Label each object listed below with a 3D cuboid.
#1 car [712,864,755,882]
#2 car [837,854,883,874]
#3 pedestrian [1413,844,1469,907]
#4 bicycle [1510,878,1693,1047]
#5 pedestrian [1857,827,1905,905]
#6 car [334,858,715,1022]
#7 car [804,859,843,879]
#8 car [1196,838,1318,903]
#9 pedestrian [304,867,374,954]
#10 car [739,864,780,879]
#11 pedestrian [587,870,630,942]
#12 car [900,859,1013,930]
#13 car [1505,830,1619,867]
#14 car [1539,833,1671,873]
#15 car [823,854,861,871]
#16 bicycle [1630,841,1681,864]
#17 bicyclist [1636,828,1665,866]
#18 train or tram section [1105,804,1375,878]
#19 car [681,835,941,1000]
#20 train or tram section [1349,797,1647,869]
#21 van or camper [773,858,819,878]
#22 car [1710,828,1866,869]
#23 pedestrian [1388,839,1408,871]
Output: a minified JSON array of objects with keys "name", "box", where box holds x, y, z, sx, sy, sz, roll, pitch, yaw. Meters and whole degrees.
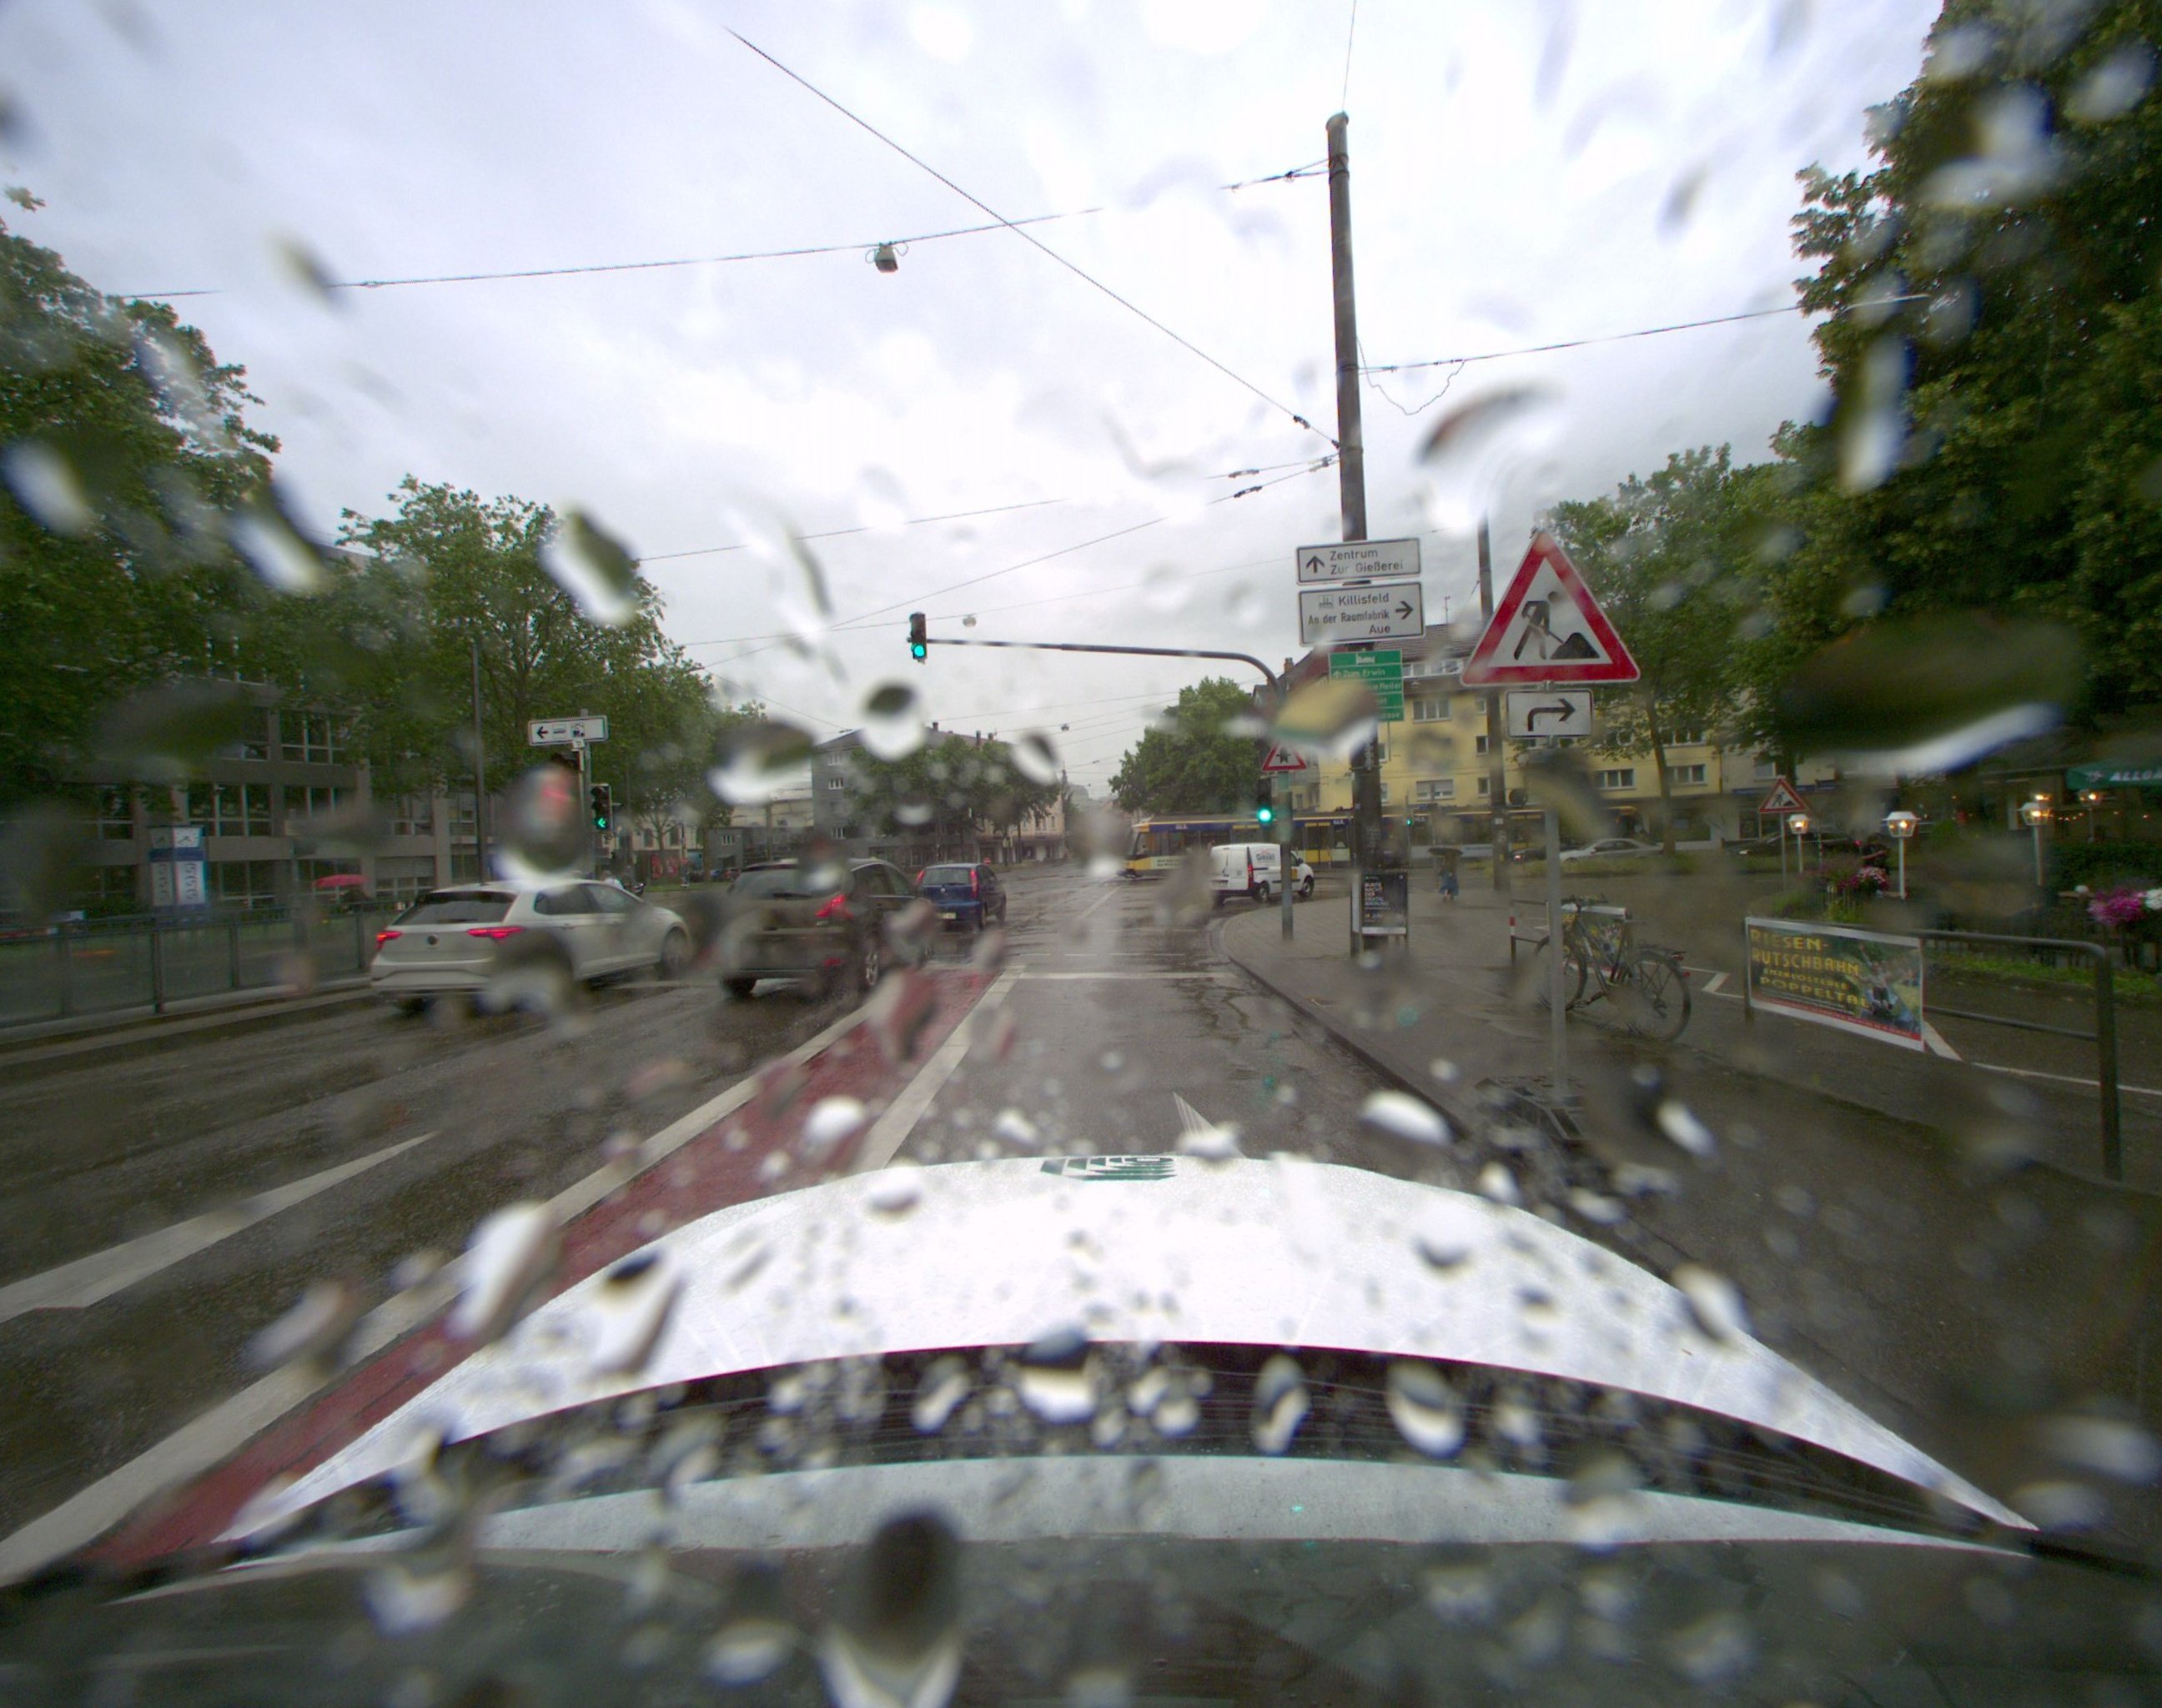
[{"name":"car","box":[-39.506,2.113,92.691,1.974,2.014,4.025,-1,-1,31]},{"name":"car","box":[-23.248,1.029,85.836,2.041,2.013,4.426,-1,1,32]},{"name":"pedestrian","box":[10.001,0.573,22.625,1.003,1.666,1.092,-2,1,-43]},{"name":"bicycle","box":[4.350,0.837,6.961,0.420,1.168,1.793,0,1,0]},{"name":"pedestrian","box":[17.240,0.254,17.553,0.546,1.644,0.389,-4,0,3]},{"name":"car","box":[-6.653,0.900,10.445,1.799,1.536,4.194,-2,1,3]},{"name":"car","box":[-27.866,1.588,88.241,1.977,2.013,4.019,-2,1,18]},{"name":"car","box":[5.592,0.442,25.599,1.886,1.797,4.139,0,1,43]},{"name":"pedestrian","box":[-15.553,1.149,17.105,0.954,1.711,0.820,-3,1,-37]},{"name":"car","box":[-35.704,1.896,90.531,1.975,1.614,4.023,-2,-2,27]},{"name":"pedestrian","box":[-11.186,1.205,19.288,0.739,1.610,0.710,-3,1,-37]},{"name":"car","box":[-2.790,0.923,19.157,1.875,1.459,3.834,-1,-2,3]},{"name":"car","box":[22.647,-0.266,38.489,4.243,1.501,1.885,-2,1,10]},{"name":"car","box":[22.600,-0.050,35.293,4.452,1.489,1.747,-2,1,15]},{"name":"car","box":[-25.720,0.875,87.814,1.905,1.618,4.019,-2,1,18]},{"name":"bicycle","box":[26.721,-0.073,37.930,1.798,1.031,0.722,-1,1,12]},{"name":"bicyclist","box":[26.552,-0.331,37.963,0.881,1.716,0.717,-1,1,12]},{"name":"train or tram section","box":[8.725,-0.793,44.602,14.548,3.558,3.102,-2,1,-14]},{"name":"car","box":[-3.223,0.636,10.707,1.794,1.709,4.194,-1,1,3]},{"name":"train or tram section","box":[22.726,-1.131,45.252,14.547,3.558,3.123,-1,1,7]},{"name":"van or camper","box":[-30.895,1.517,88.414,1.975,2.075,4.682,-2,0,25]},{"name":"car","box":[29.475,-0.231,34.119,4.590,1.485,1.870,-2,1,15]},{"name":"pedestrian","box":[16.818,0.041,43.189,0.804,1.677,1.023,-2,0,28]}]
